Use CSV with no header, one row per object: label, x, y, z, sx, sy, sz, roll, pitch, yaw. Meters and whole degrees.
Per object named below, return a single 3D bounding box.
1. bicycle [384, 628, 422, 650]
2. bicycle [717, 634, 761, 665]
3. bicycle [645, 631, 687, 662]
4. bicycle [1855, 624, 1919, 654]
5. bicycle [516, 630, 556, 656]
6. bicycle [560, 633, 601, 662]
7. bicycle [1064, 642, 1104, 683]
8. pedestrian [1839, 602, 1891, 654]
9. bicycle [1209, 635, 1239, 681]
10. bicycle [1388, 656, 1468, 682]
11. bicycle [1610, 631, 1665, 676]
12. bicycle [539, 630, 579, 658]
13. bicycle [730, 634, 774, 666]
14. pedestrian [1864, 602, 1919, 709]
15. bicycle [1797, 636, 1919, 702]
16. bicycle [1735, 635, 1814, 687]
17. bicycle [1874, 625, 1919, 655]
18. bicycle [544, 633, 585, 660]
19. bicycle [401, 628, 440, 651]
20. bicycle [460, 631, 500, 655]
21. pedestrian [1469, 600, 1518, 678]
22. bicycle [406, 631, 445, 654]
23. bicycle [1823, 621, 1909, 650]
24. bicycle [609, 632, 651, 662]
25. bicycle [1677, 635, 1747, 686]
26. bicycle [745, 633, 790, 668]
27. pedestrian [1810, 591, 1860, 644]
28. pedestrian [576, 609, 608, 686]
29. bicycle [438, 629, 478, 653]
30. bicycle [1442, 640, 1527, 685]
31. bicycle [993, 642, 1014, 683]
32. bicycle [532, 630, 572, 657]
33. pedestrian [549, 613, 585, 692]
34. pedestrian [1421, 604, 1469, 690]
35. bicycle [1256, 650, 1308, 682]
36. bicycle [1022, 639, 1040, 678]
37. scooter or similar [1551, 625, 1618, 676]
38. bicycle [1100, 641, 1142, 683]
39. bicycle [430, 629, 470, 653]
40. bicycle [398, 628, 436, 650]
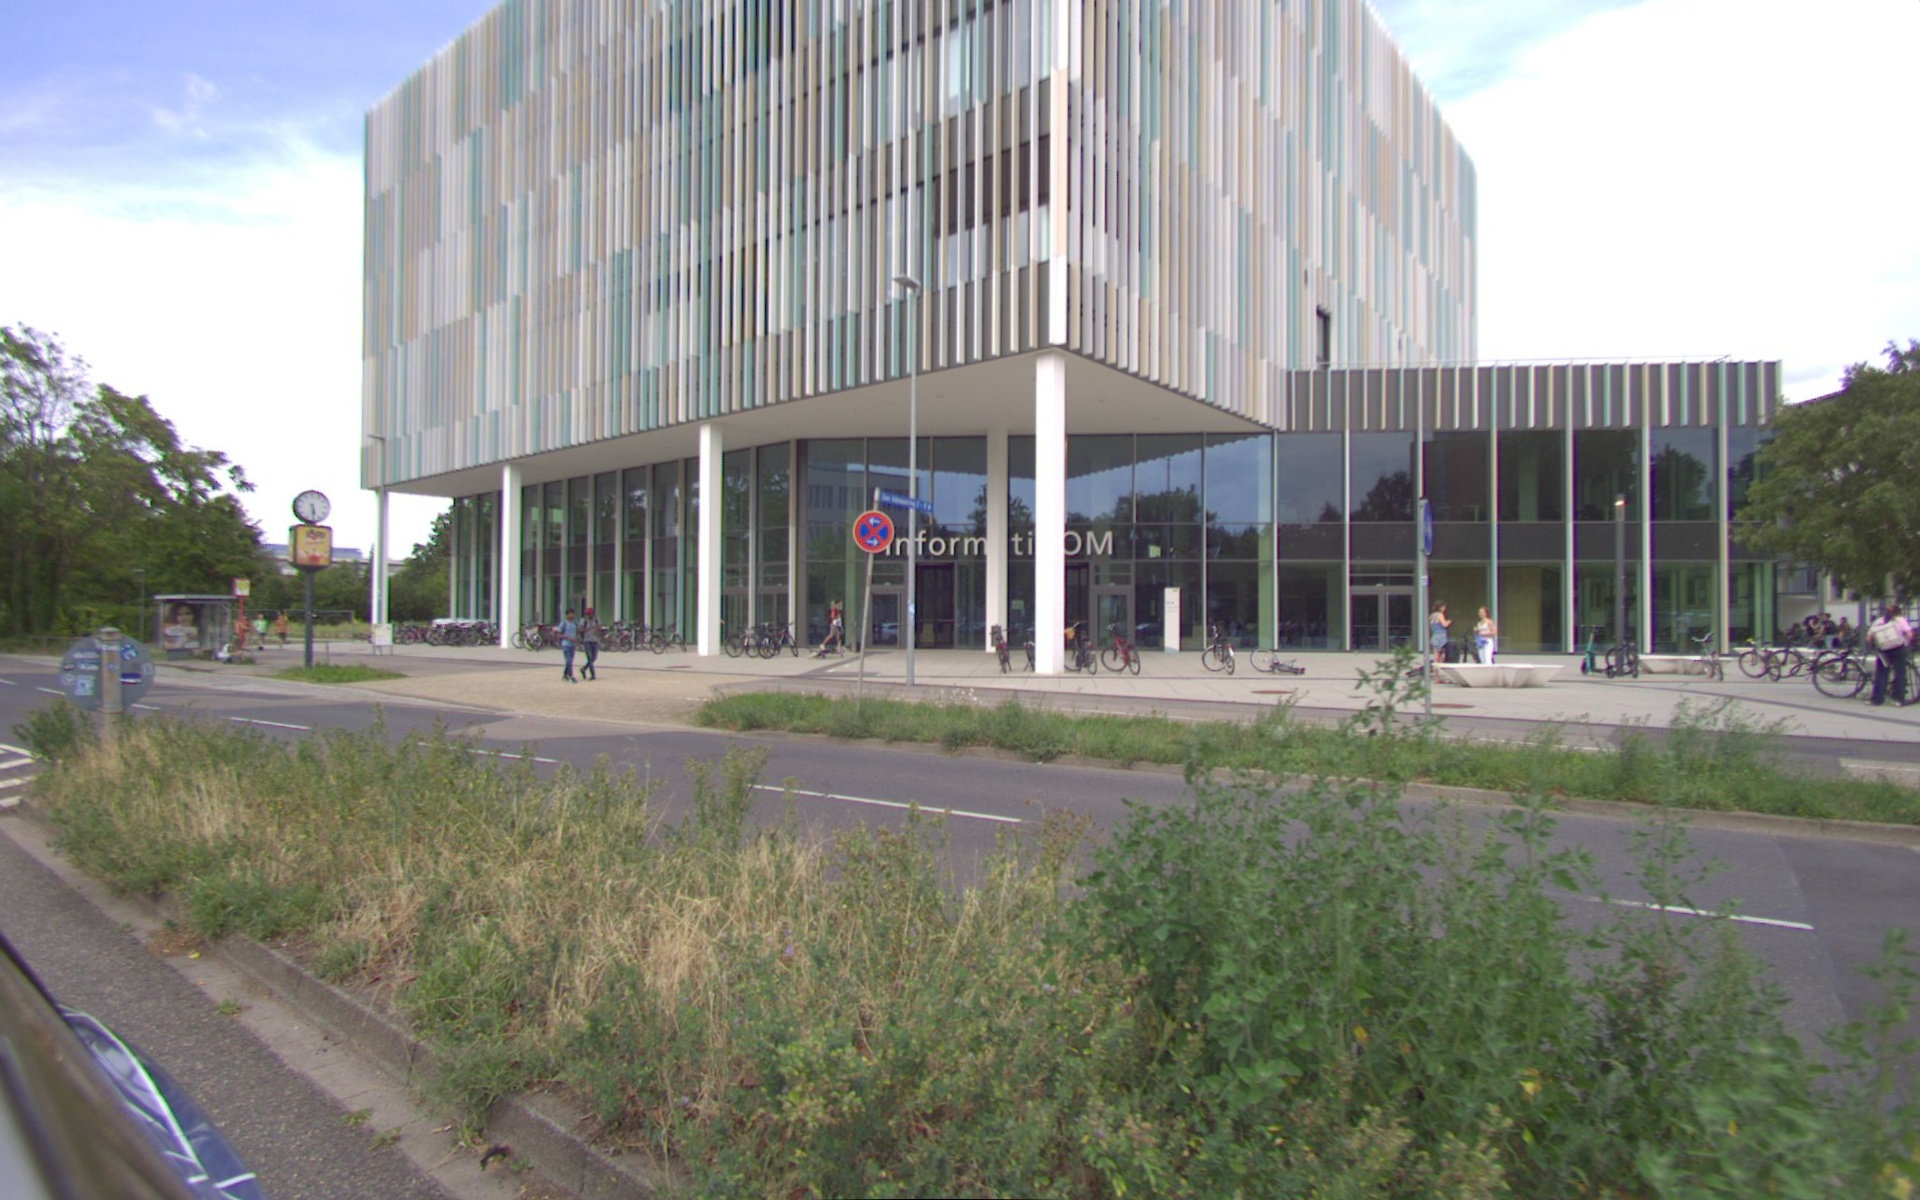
bicycle,-28.658,1.989,52.088,0.433,1.031,1.684,-1,0,35
bicycle,-7.247,1.622,33.275,0.389,0.944,1.528,-1,0,35
bicycle,-10.693,1.685,36.854,0.389,1.031,1.563,-1,0,35
bicycle,37.263,1.540,40.157,2.641,1.142,0.744,-1,-2,7
bicycle,-17.717,1.783,42.319,0.389,1.031,1.563,-1,0,35
bicycle,-14.893,1.849,39.726,0.389,1.031,1.563,-1,0,35
bicycle,3.107,1.554,25.497,0.387,0.944,1.603,-1,0,-16
pedestrian,34.273,1.066,38.344,0.963,1.945,1.068,0,-2,7
bicycle,6.595,1.425,25.291,0.389,1.037,1.545,-1,0,3
bicycle,11.129,1.639,24.168,0.614,0.526,2.254,0,-1,-7
bicycle,16.261,1.255,24.346,0.669,1.007,2.660,-1,-2,25
bicycle,-16.367,1.792,41.332,0.389,1.031,1.563,-1,0,35
bicycle,-6.736,1.616,32.854,0.393,0.944,1.528,-1,0,35
pedestrian,14.233,0.833,15.449,0.643,1.593,0.574,1,-2,-45
bicycle,14.544,1.088,16.184,1.749,1.006,0.434,-2,-2,44
bicycle,18.860,1.387,23.506,0.793,1.098,2.660,-1,-2,25
bicycle,36.936,1.538,38.953,2.641,1.142,0.744,-1,-2,7
bicycle,-15.982,1.868,40.931,0.389,1.031,1.563,-1,0,35
bicycle,-26.915,1.965,50.496,0.433,1.031,1.684,-1,0,35
bicycle,-22.142,1.989,46.664,0.389,1.031,1.684,-1,0,35
pedestrian,11.122,0.806,21.119,0.671,1.612,0.728,0,-1,10
bicycle,-26.152,2.089,49.544,0.433,1.031,1.684,-1,0,35
bicycle,37.174,1.459,41.535,2.641,1.142,0.744,-1,-2,7
bicycle,-12.384,1.739,37.973,0.389,1.031,1.563,-1,0,35
bicycle,17.800,1.400,24.025,0.793,1.098,2.660,-1,-2,25
bicycle,-6.141,1.601,32.384,0.399,1.002,1.527,-1,0,36
pedestrian,32.977,0.661,38.142,0.963,1.945,1.068,-1,0,7
pedestrian,-8.993,1.160,24.726,0.624,1.851,0.505,-3,-3,40
bicycle,-23.562,1.900,47.525,0.433,1.031,1.684,-1,0,35
bicycle,12.594,1.475,24.393,0.614,0.992,2.254,0,-1,-7
bicycle,1.125,1.576,25.905,0.389,0.944,1.607,-1,0,7
bicycle,-16.776,1.789,41.646,0.389,1.031,1.563,-1,0,35
pedestrian,-9.385,1.236,24.171,0.772,1.851,0.505,-3,-3,40
pedestrian,10.079,0.958,21.047,0.670,1.753,0.729,0,-1,7
bicycle,8.034,1.637,25.316,0.387,0.678,1.800,-1,0,-12
bicycle,1.898,1.534,26.879,0.389,0.944,1.595,-1,0,7
scooter or similar,15.543,1.228,25.249,0.589,1.207,2.120,-1,-1,8
bicycle,4.042,1.547,25.509,0.387,0.944,1.603,-1,0,-16
bicycle,-24.221,1.928,48.062,0.433,1.031,1.684,-1,0,35
bicycle,-27.475,1.973,51.195,0.433,1.031,1.684,-1,0,35
